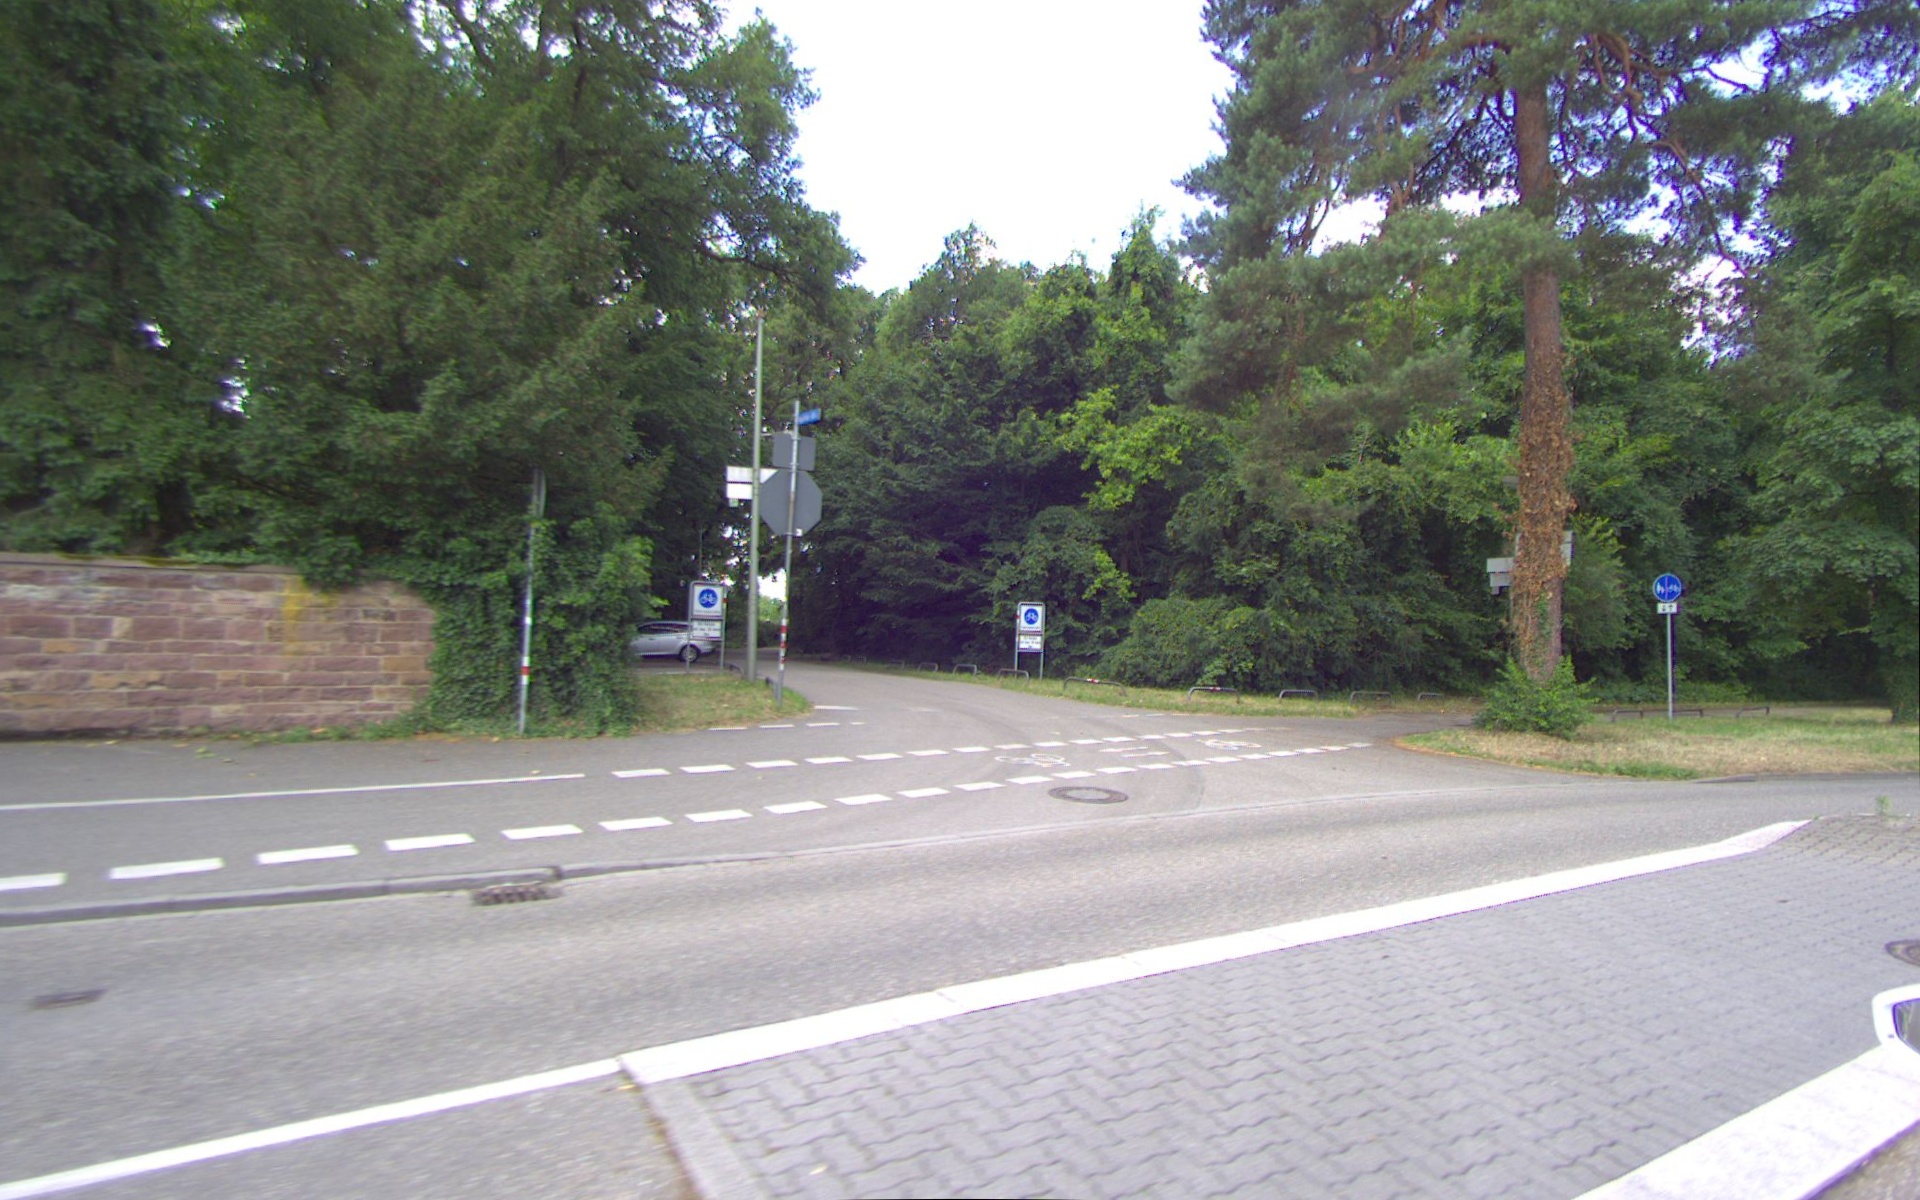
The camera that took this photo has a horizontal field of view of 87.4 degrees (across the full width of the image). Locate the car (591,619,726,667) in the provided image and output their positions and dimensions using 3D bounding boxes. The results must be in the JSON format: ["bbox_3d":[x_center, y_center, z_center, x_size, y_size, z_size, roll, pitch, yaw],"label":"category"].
[{"bbox_3d":[-10.852,1.570,36.144,4.456,1.561,1.921,3,-3,-24],"label":"car"}]
